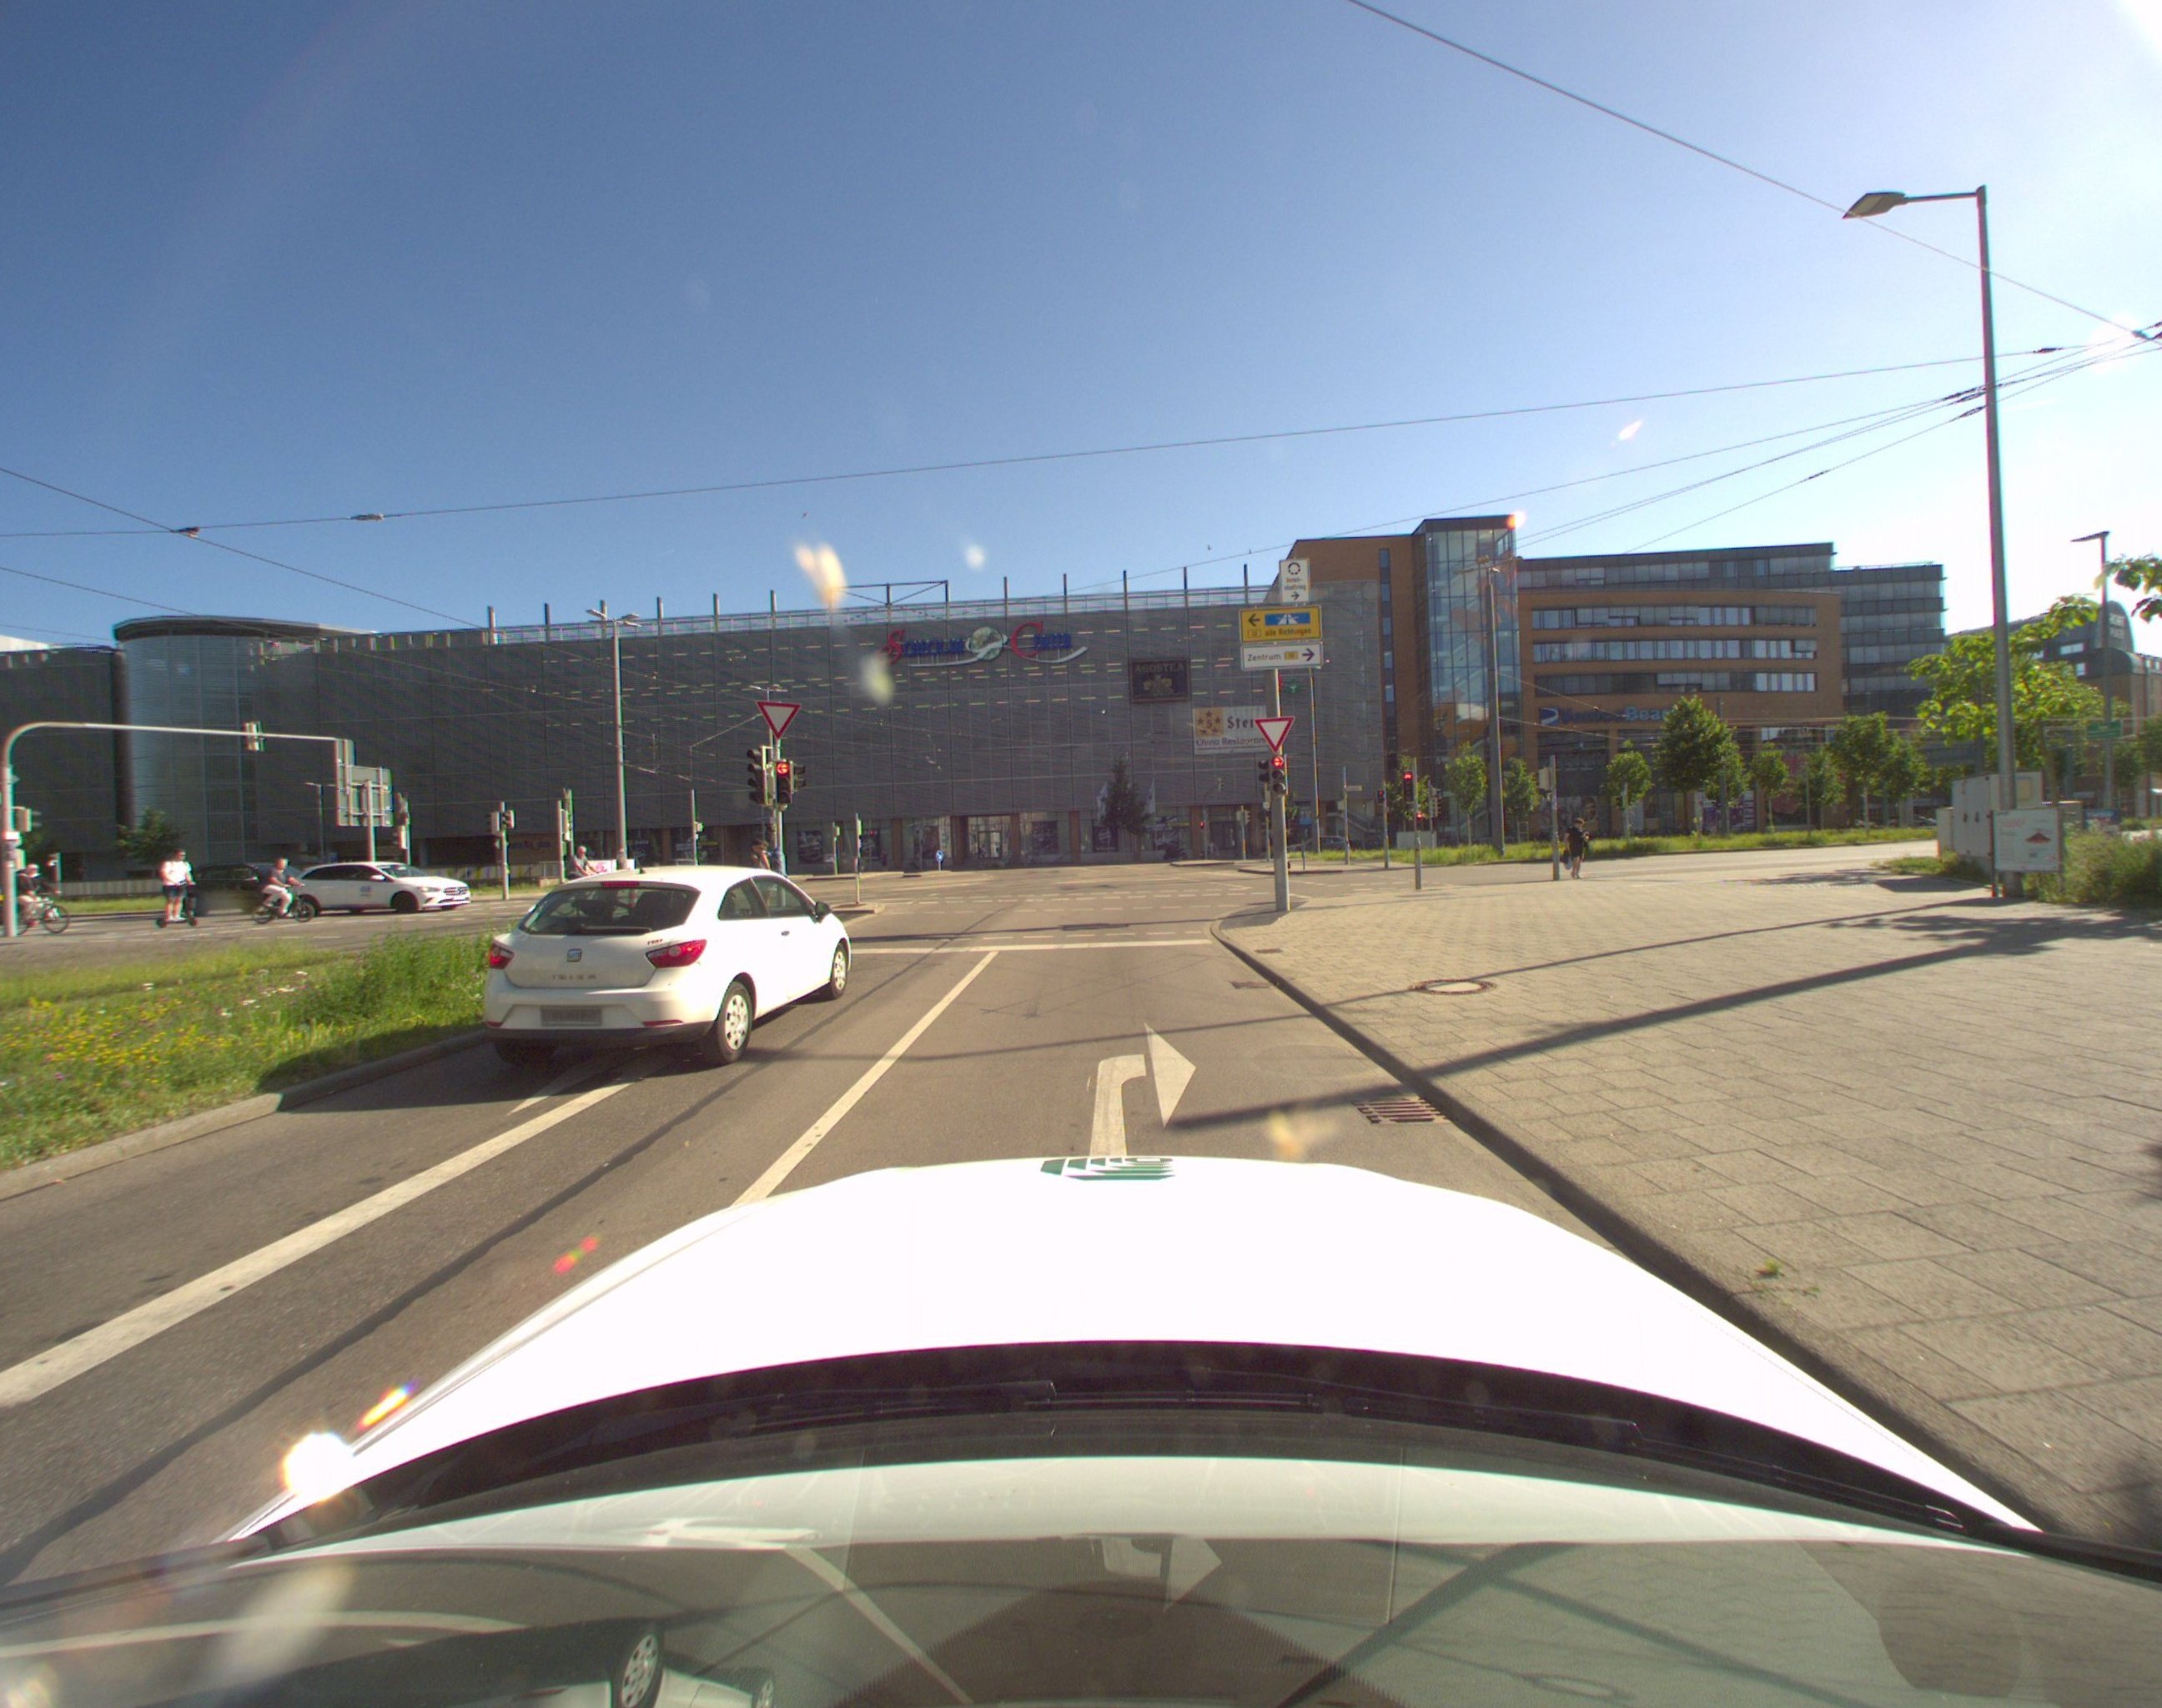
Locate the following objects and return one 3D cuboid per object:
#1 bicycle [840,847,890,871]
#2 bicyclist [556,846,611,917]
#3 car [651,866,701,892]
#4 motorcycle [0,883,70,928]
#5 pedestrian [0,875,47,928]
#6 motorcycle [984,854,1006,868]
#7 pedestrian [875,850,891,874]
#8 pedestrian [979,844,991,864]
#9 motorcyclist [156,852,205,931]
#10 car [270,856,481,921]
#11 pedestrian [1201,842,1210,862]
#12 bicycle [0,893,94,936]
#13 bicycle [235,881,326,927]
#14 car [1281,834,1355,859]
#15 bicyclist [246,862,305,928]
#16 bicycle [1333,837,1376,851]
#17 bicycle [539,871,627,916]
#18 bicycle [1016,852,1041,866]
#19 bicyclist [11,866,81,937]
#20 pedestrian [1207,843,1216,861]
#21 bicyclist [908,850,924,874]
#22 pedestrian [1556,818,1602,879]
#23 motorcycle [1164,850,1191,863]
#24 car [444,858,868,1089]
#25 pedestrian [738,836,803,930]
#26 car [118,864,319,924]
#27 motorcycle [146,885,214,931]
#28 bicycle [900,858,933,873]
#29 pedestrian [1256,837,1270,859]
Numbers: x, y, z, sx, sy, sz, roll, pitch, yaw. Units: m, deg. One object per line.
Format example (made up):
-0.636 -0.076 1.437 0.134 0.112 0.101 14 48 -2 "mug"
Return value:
-18.817 0.424 70.959 3.972 2.013 1.330 -1 1 1 "bicycle"
-13.483 0.731 22.093 0.899 1.859 0.854 -2 0 1 "bicyclist"
-29.474 1.821 59.199 3.948 1.794 1.769 -1 0 39 "car"
-35.450 1.713 27.091 2.435 1.419 0.915 -1 0 -1 "motorcycle"
-35.213 1.570 27.079 0.741 1.677 0.665 -1 0 0 "pedestrian"
-6.810 0.555 64.648 1.641 1.059 0.499 -2 0 10 "motorcycle"
-15.593 0.655 64.241 0.894 1.868 0.826 -2 0 44 "pedestrian"
-8.286 -0.002 70.156 0.845 1.763 0.620 -2 0 0 "pedestrian"
-23.502 0.962 21.260 0.625 2.013 0.498 -2 0 1 "motorcyclist"
-20.813 0.986 24.191 4.477 1.634 1.838 -2 1 -3 "car"
9.863 -0.157 64.533 0.587 1.534 0.658 -2 0 1 "pedestrian"
-27.314 1.584 21.346 1.920 1.036 0.694 -2 0 -2 "bicycle"
-20.807 1.285 21.190 1.572 1.107 0.734 -1 0 -2 "bicycle"
15.752 -0.487 54.289 4.471 1.494 1.495 -2 0 1 "car"
-20.934 1.047 21.175 0.780 1.648 0.690 -2 0 -1 "bicyclist"
23.488 -0.847 69.922 3.342 1.077 1.119 -1 1 7 "bicycle"
-13.468 1.063 22.067 1.822 1.116 0.854 -2 0 1 "bicycle"
-4.462 0.414 69.521 2.019 1.059 1.145 -2 0 0 "bicycle"
-27.132 1.234 21.364 0.761 1.789 0.762 -2 0 -3 "bicyclist"
10.495 -0.145 65.289 0.587 1.462 0.658 -2 0 1 "pedestrian"
-12.951 0.621 63.855 0.849 1.803 0.806 -2 0 -40 "bicyclist"
14.251 -0.158 23.321 0.803 1.708 0.762 -2 0 1 "pedestrian"
8.187 0.218 69.406 2.194 1.042 1.062 -1 1 1 "motorcycle"
-3.222 0.774 7.112 1.626 1.423 3.783 1 0 1 "car"
-5.865 0.529 15.396 0.882 1.707 0.713 -2 0 1 "pedestrian"
-28.580 1.292 27.087 4.619 1.718 1.839 -2 1 0 "car"
-23.512 1.408 21.258 1.182 1.121 0.483 -2 0 0 "motorcycle"
-12.931 0.883 63.960 2.256 1.070 1.034 -2 0 -40 "bicycle"
14.534 -0.486 64.908 0.852 1.738 0.752 -2 0 -5 "pedestrian"
